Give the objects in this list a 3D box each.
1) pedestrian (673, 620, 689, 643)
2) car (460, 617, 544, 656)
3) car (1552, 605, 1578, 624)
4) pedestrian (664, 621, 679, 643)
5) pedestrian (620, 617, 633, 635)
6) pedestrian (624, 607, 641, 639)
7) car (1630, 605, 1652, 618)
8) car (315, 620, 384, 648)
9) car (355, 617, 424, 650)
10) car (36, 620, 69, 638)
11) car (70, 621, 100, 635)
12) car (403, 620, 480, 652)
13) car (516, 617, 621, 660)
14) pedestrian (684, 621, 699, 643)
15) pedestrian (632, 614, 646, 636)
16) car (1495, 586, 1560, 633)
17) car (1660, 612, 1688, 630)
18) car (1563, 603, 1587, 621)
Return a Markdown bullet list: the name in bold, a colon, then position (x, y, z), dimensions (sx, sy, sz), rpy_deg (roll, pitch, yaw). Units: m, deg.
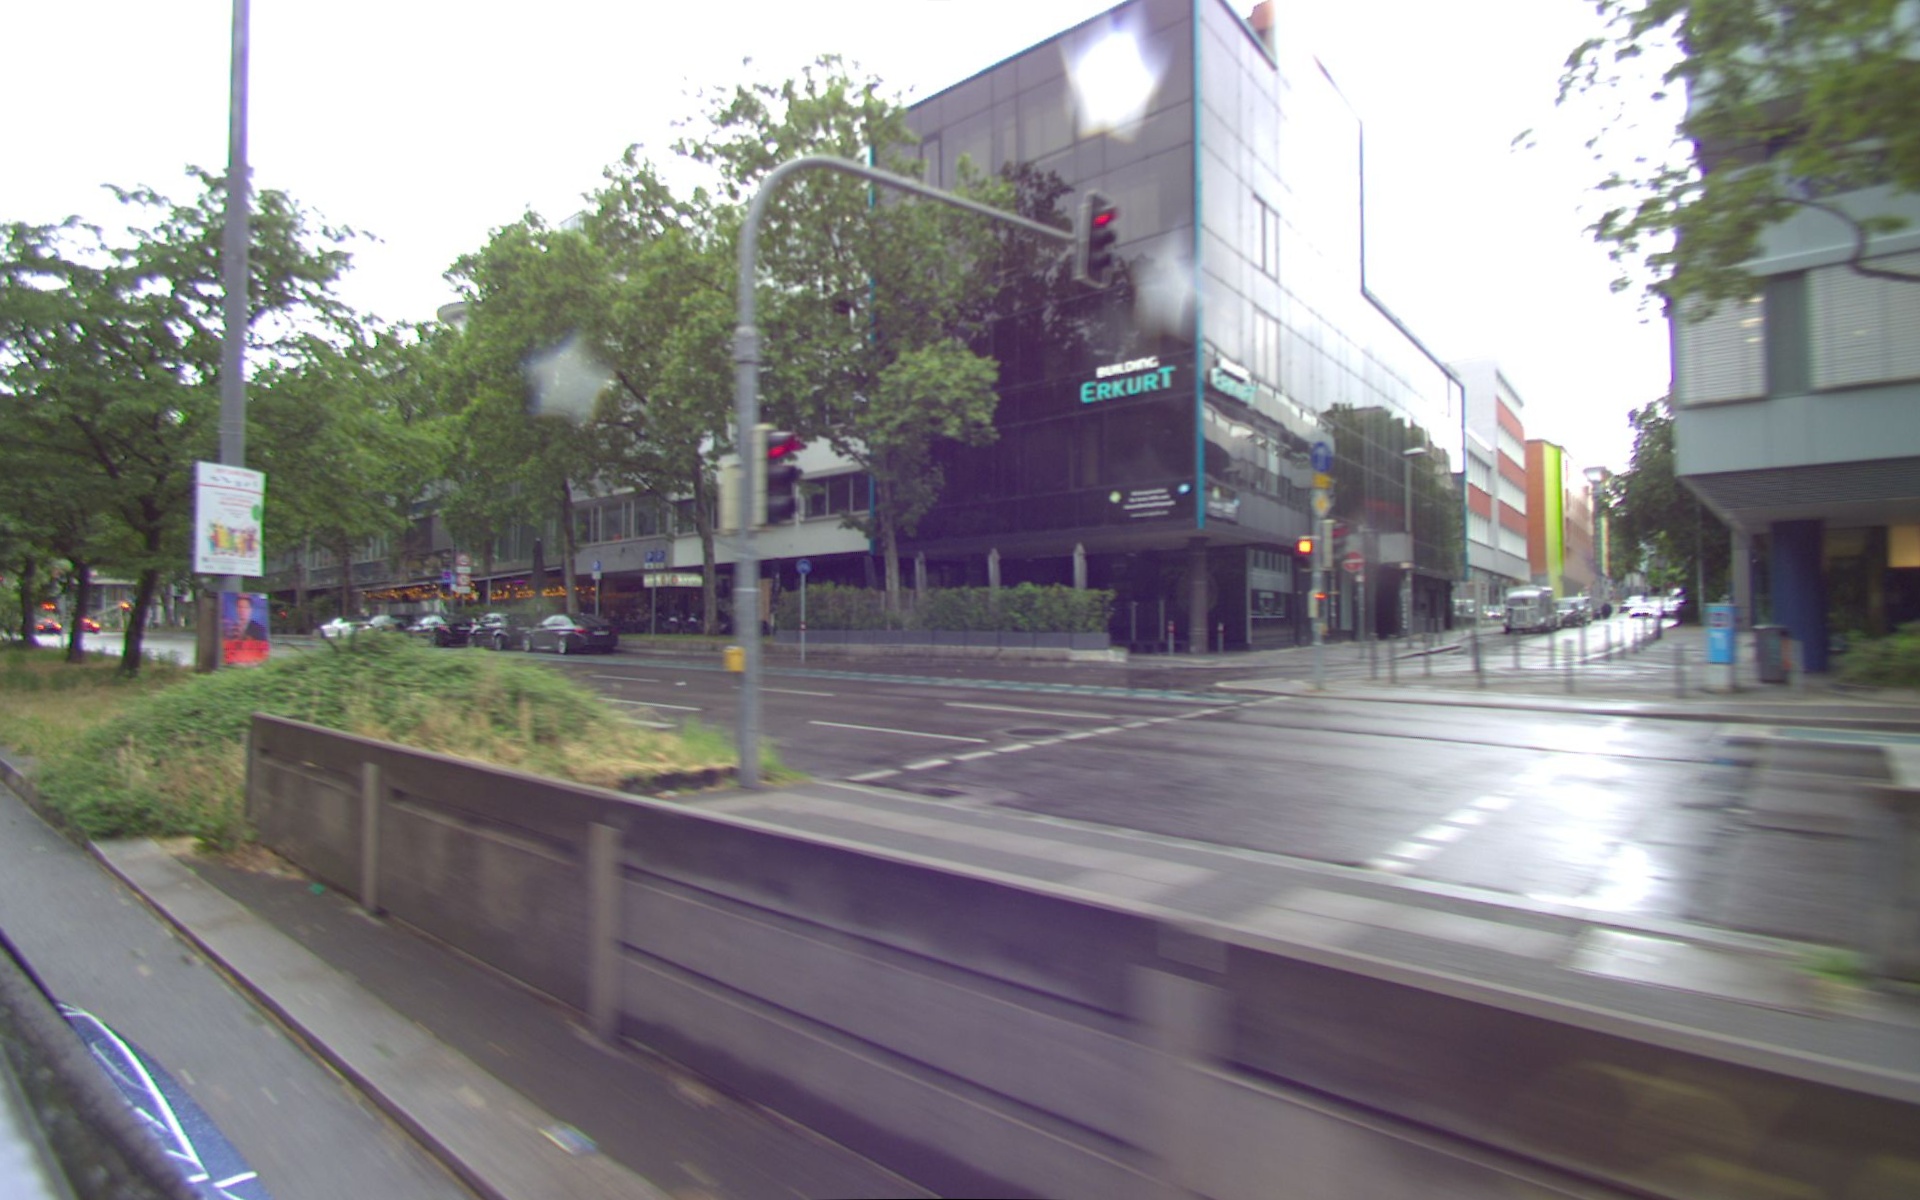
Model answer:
- **pedestrian**: position (-12.593, 1.430, 45.717), dimensions (0.488, 1.008, 0.482), rpy_deg (0, 0, 25)
- **car**: position (-18.516, 1.437, 40.907), dimensions (3.399, 1.433, 1.851), rpy_deg (0, 1, 41)
- **car**: position (39.364, 0.931, 65.804), dimensions (1.253, 1.141, 2.586), rpy_deg (0, 1, 35)
- **pedestrian**: position (-13.134, 1.462, 46.077), dimensions (0.461, 1.000, 0.455), rpy_deg (0, 0, 25)
- **pedestrian**: position (-16.137, 1.246, 48.973), dimensions (0.433, 0.856, 0.435), rpy_deg (0, 0, 38)
- **pedestrian**: position (-17.445, 1.233, 53.929), dimensions (0.622, 1.660, 0.599), rpy_deg (0, 0, 36)
- **car**: position (85.679, 1.436, 127.359), dimensions (1.997, 1.519, 3.949), rpy_deg (0, 1, 38)
- **car**: position (-31.739, 1.737, 52.579), dimensions (4.390, 1.336, 1.857), rpy_deg (0, 1, 41)
- **car**: position (-27.537, 1.579, 48.828), dimensions (3.787, 1.464, 1.728), rpy_deg (0, 1, 41)
- **car**: position (-86.512, 2.708, 96.457), dimensions (3.725, 1.586, 1.758), rpy_deg (0, 1, 39)
- **car**: position (-87.932, 2.782, 101.720), dimensions (3.736, 1.335, 1.743), rpy_deg (0, 1, 41)
- **car**: position (-22.941, 1.558, 44.698), dimensions (4.318, 1.249, 1.626), rpy_deg (0, 1, 42)
- **car**: position (-14.464, 1.360, 37.288), dimensions (4.538, 1.396, 1.850), rpy_deg (0, 1, 44)
- **pedestrian**: position (-12.076, 1.437, 45.522), dimensions (0.451, 0.970, 0.454), rpy_deg (0, 0, 25)
- **pedestrian**: position (-15.198, 1.171, 47.965), dimensions (0.423, 1.024, 0.459), rpy_deg (0, 0, 38)
- **car**: position (30.616, 0.459, 54.485), dimensions (2.246, 2.341, 6.681), rpy_deg (0, 1, 37)
- **car**: position (66.543, 1.913, 94.319), dimensions (1.997, 1.519, 3.949), rpy_deg (0, 1, 38)
- **car**: position (42.540, 0.829, 69.977), dimensions (1.285, 1.141, 2.650), rpy_deg (0, 1, 35)
